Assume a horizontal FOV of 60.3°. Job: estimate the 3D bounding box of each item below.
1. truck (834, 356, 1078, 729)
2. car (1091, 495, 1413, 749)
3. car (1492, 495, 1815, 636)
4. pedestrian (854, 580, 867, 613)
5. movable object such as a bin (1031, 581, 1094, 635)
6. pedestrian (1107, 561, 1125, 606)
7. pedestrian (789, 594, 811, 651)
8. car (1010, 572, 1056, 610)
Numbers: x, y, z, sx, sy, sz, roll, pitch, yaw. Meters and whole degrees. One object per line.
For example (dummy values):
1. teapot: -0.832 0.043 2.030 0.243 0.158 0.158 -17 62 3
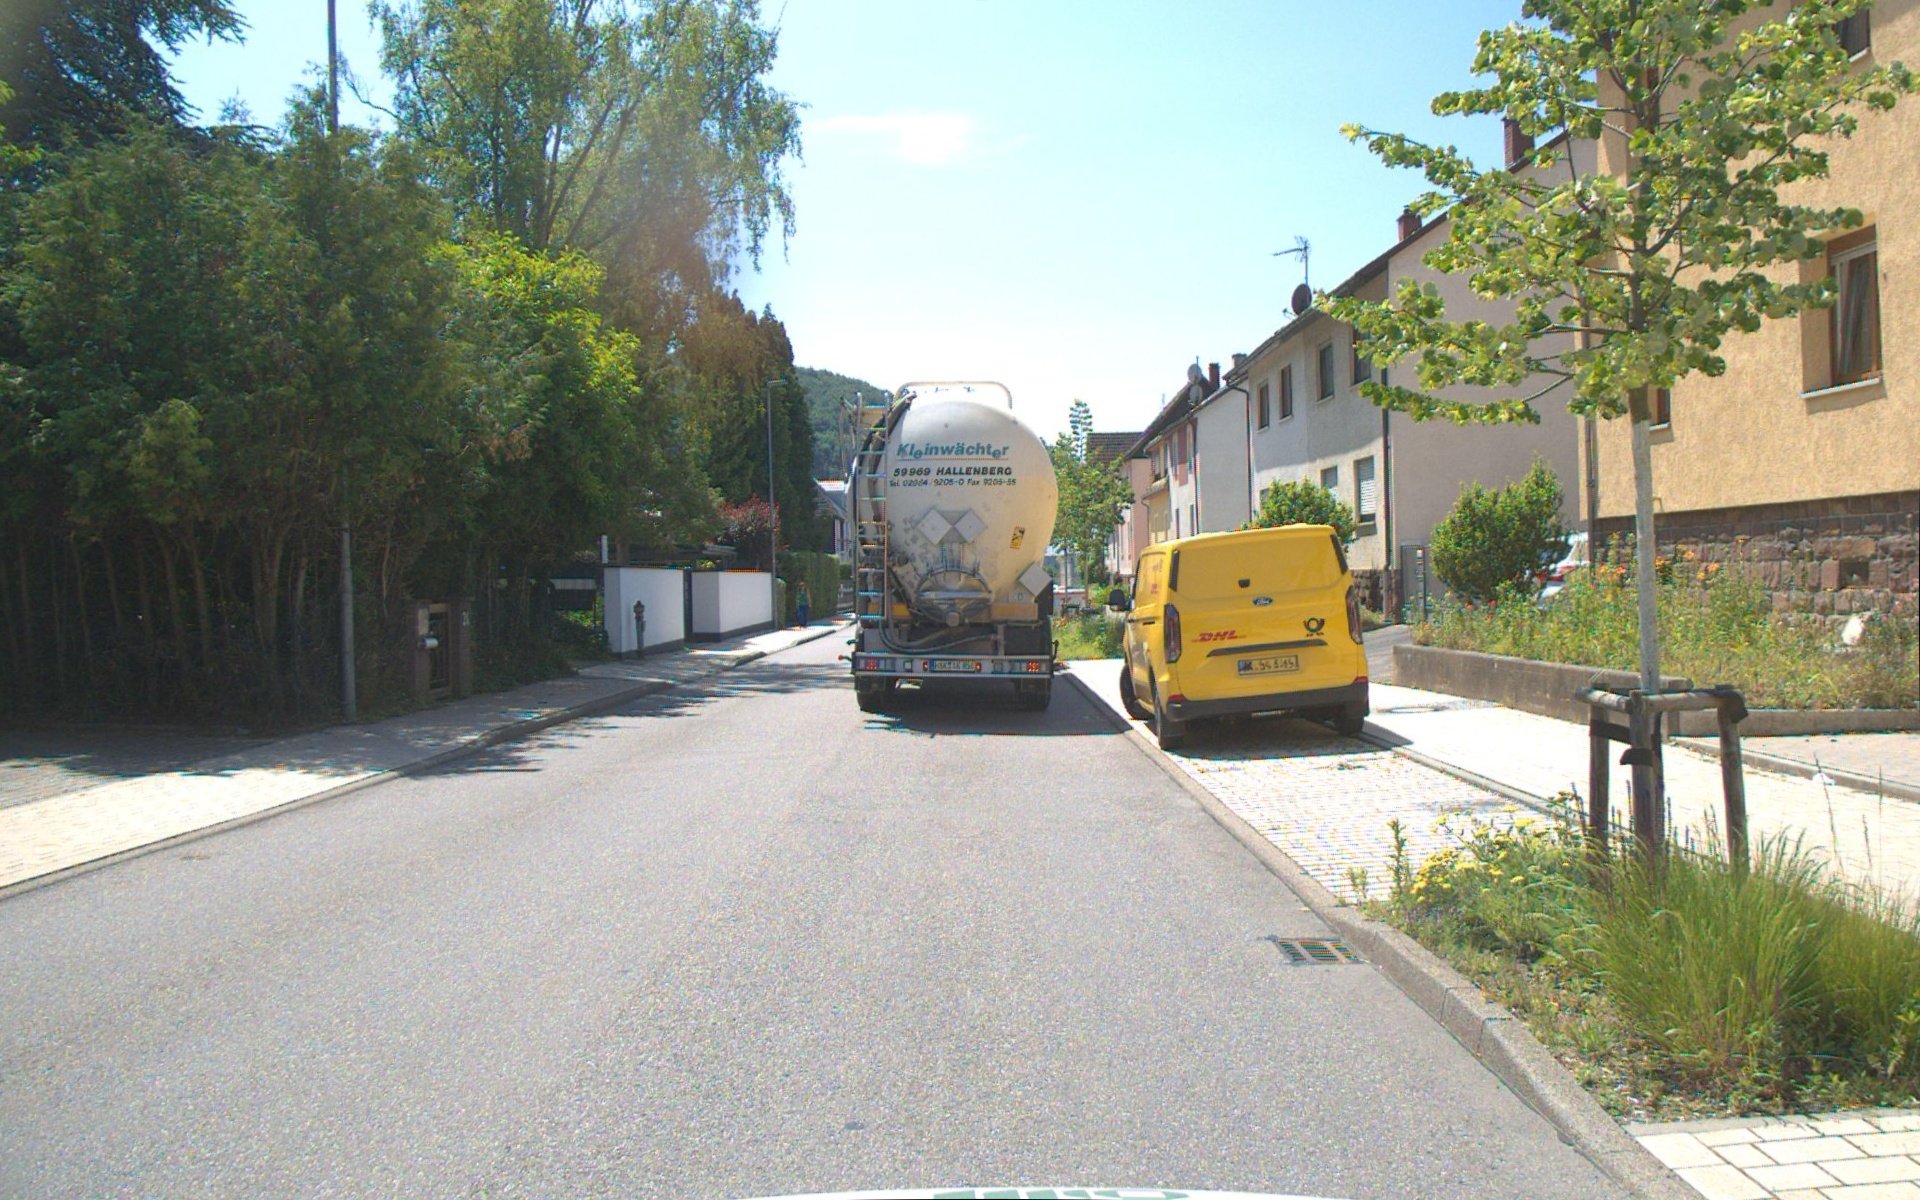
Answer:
1. truck: -0.074 -0.692 23.859 2.694 4.127 10.888 0 1 0
2. car: 2.812 0.216 17.474 2.146 2.048 5.621 -5 0 -1
3. car: 10.184 -0.493 24.487 3.908 1.705 1.873 -4 0 -3
4. pedestrian: -5.661 -0.195 94.280 0.698 1.855 0.898 0 -1 -4
5. movable object such as a bin: 2.887 0.233 47.187 1.539 1.441 3.041 -2 0 -1
6. pedestrian: 7.222 -0.761 76.542 0.731 2.049 1.033 0 -1 1
7. pedestrian: -5.848 0.812 60.369 0.706 2.049 0.804 0 -1 -1
8. car: 3.084 -0.349 70.584 1.720 1.442 4.632 -3 -1 0
